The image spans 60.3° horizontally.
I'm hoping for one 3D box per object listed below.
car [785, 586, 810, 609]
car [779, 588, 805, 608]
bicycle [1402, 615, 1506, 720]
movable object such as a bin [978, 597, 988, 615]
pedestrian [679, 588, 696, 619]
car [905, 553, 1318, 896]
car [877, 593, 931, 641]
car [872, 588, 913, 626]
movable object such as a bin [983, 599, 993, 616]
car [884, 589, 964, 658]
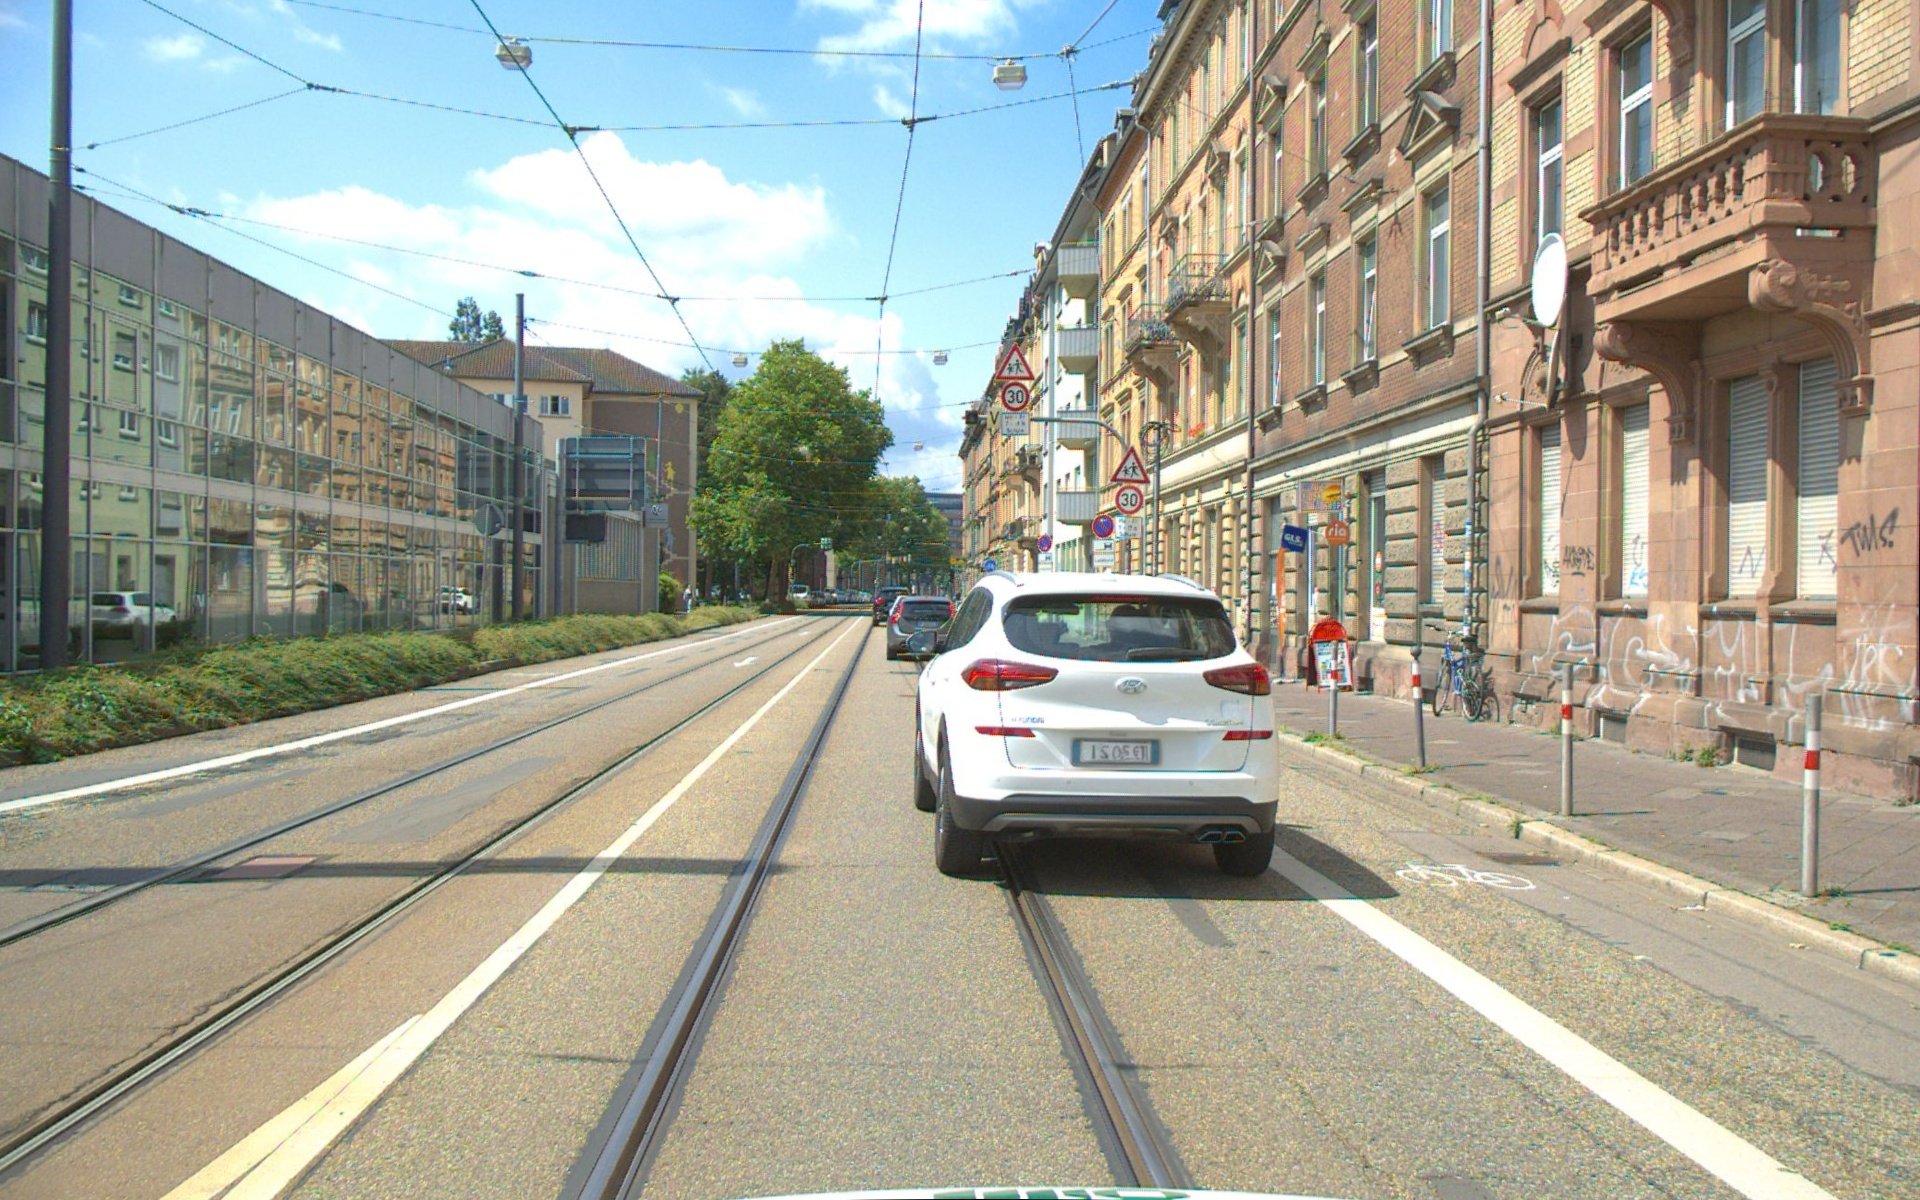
[{"bbox_3d":[-14.156,-0.246,144.171,1.911,1.928,4.563,1,0,-3],"label":"car"},{"bbox_3d":[-14.017,-0.181,138.208,1.911,1.660,4.573,1,0,-3],"label":"car"},{"bbox_3d":[6.050,0.798,20.366,0.574,1.199,2.204,0,0,-2],"label":"bicycle"},{"bbox_3d":[1.535,0.393,110.414,0.600,1.163,0.638,1,0,-3],"label":"movable object such as a bin"},{"bbox_3d":[-16.396,0.204,99.460,0.862,1.898,1.080,0,0,-2],"label":"pedestrian"},{"bbox_3d":[0.694,0.614,10.290,1.816,1.662,4.176,2,0,-5],"label":"car"},{"bbox_3d":[-1.922,0.557,56.421,1.778,1.551,3.953,0,0,-3],"label":"car"},{"bbox_3d":[-3.097,0.311,75.827,1.778,1.691,4.083,1,0,-3],"label":"car"},{"bbox_3d":[1.854,0.493,108.997,0.600,1.163,0.638,1,0,-3],"label":"movable object such as a bin"},{"bbox_3d":[-0.800,0.521,39.092,1.777,1.551,4.085,0,0,0],"label":"car"}]
